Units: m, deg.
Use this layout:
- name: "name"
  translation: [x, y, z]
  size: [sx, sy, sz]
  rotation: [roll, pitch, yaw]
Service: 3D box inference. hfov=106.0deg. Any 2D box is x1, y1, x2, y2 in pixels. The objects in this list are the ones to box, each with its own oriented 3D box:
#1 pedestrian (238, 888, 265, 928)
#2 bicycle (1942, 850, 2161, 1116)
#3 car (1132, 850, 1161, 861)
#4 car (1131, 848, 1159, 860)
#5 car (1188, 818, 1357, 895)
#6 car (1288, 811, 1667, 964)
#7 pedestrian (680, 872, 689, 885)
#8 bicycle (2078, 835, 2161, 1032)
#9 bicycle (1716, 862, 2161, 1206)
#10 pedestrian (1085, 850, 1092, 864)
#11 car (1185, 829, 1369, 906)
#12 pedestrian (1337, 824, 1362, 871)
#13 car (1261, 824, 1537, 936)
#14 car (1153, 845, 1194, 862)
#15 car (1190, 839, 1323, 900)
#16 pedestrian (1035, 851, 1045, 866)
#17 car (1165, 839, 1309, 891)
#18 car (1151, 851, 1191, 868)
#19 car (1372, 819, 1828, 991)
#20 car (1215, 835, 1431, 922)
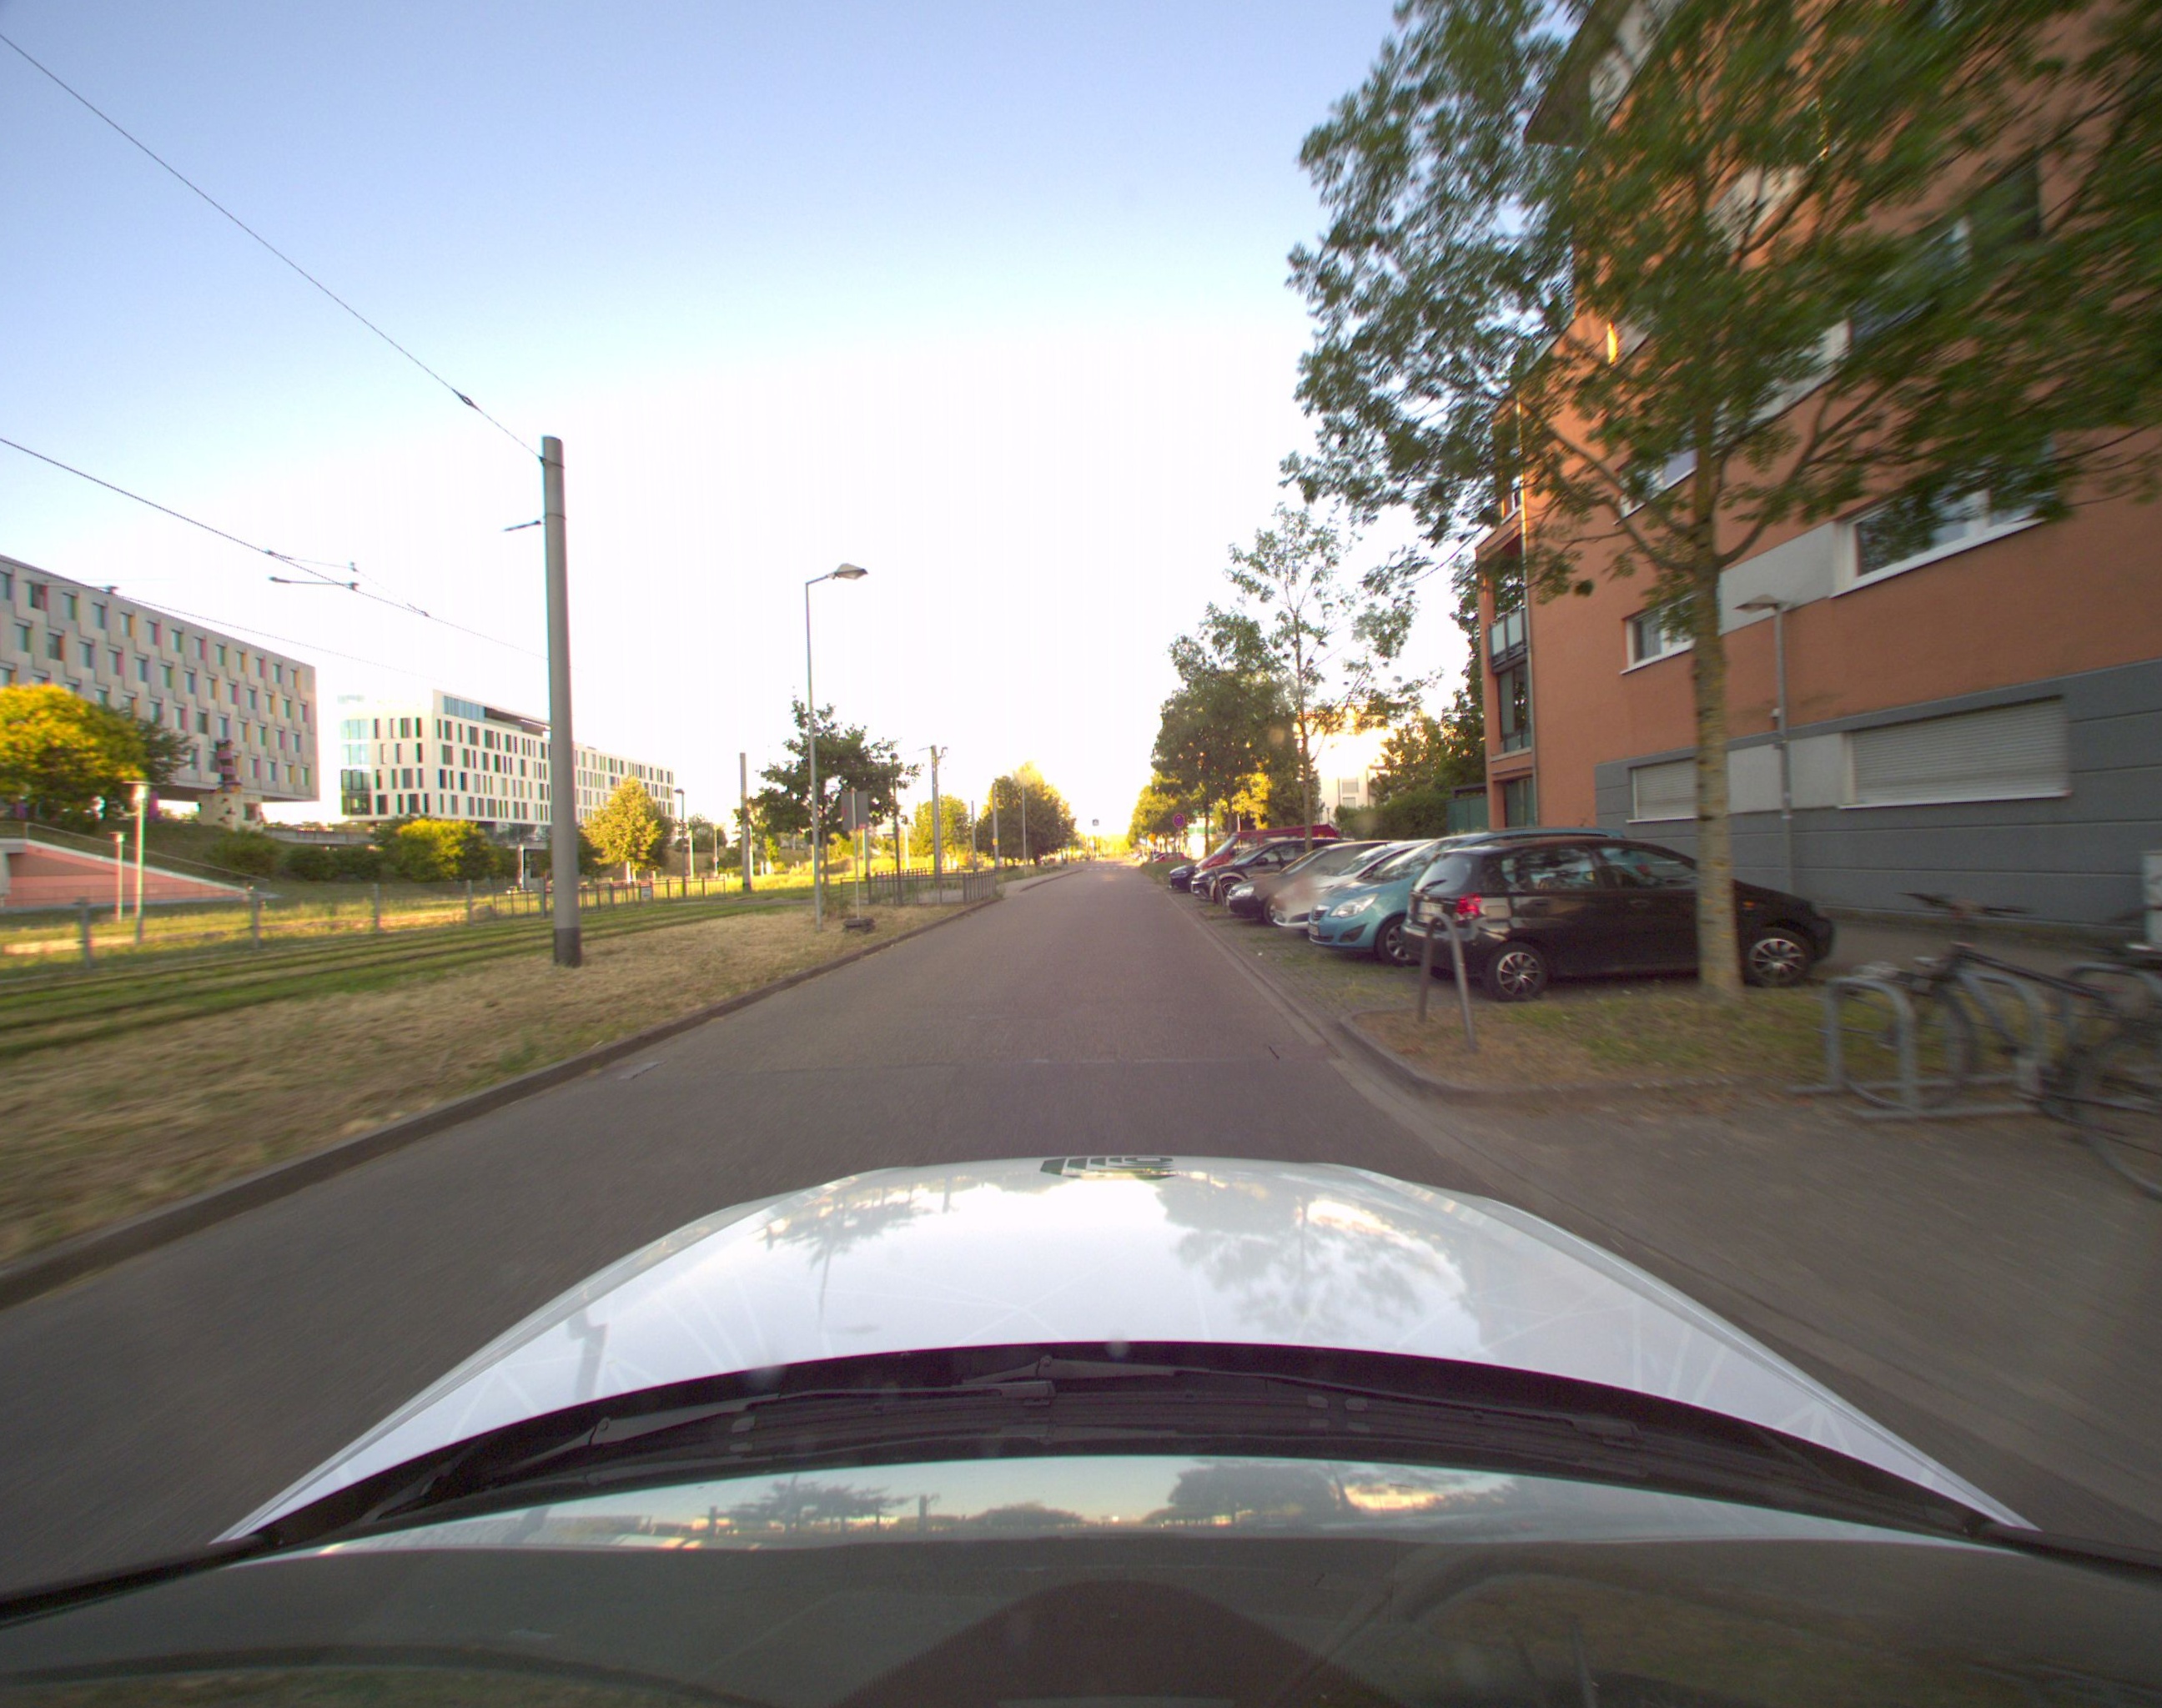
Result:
- name: "pedestrian"
  translation: [-43.983, 2.869, 43.182]
  size: [0.614, 2.082, 0.791]
  rotation: [-1, 0, 1]
- name: "bicycle"
  translation: [5.243, 0.602, 3.661]
  size: [0.676, 1.152, 1.928]
  rotation: [-4, 1, 1]
- name: "car"
  translation: [10.424, 0.198, 129.813]
  size: [4.465, 1.596, 2.002]
  rotation: [-3, 0, 3]
- name: "car"
  translation: [11.945, 0.028, 153.026]
  size: [4.990, 2.045, 2.248]
  rotation: [-3, 0, -2]
- name: "car"
  translation: [5.961, 0.081, 25.842]
  size: [4.898, 2.117, 2.019]
  rotation: [-3, 0, 3]
- name: "car"
  translation: [4.943, 0.408, 10.584]
  size: [4.034, 1.569, 1.674]
  rotation: [-4, 0, 2]
- name: "pedestrian"
  translation: [-56.100, 3.530, 115.234]
  size: [0.783, 1.786, 0.815]
  rotation: [-3, -1, 6]
- name: "bicycle"
  translation: [6.461, 0.473, 4.090]
  size: [0.527, 1.126, 1.963]
  rotation: [-1, 1, 1]
- name: "bicycle"
  translation: [4.174, 0.672, 3.819]
  size: [0.716, 1.152, 1.893]
  rotation: [-4, 2, -8]
- name: "pedestrian"
  translation: [1.057, 0.398, 120.584]
  size: [0.841, 2.013, 0.946]
  rotation: [-3, 0, 8]
- name: "car"
  translation: [4.875, 0.326, 20.676]
  size: [4.199, 1.569, 1.794]
  rotation: [-4, 0, 2]
- name: "pedestrian"
  translation: [10.249, -0.236, 31.085]
  size: [0.666, 1.743, 0.700]
  rotation: [-2, 0, 2]
- name: "car"
  translation: [5.063, 0.407, 13.348]
  size: [3.861, 1.569, 1.621]
  rotation: [-2, 0, 2]
- name: "car"
  translation: [8.965, -0.065, 79.333]
  size: [3.790, 1.508, 1.679]
  rotation: [-3, 0, 0]
- name: "car"
  translation: [5.041, 0.439, 23.725]
  size: [3.511, 1.465, 1.616]
  rotation: [-4, 0, 2]
- name: "pedestrian"
  translation: [-4.939, 0.515, 97.709]
  size: [1.019, 1.693, 0.756]
  rotation: [-3, 0, -12]
- name: "car"
  translation: [5.344, 0.360, 28.301]
  size: [4.650, 1.556, 1.812]
  rotation: [-3, 0, 2]
- name: "car"
  translation: [9.070, 0.571, 82.133]
  size: [3.790, 1.508, 1.679]
  rotation: [-3, 0, 0]
- name: "car"
  translation: [5.201, 0.469, 8.480]
  size: [3.740, 1.473, 1.612]
  rotation: [-2, 0, -2]
- name: "car"
  translation: [4.644, 0.487, 16.005]
  size: [3.759, 1.495, 1.540]
  rotation: [-2, -2, 2]
